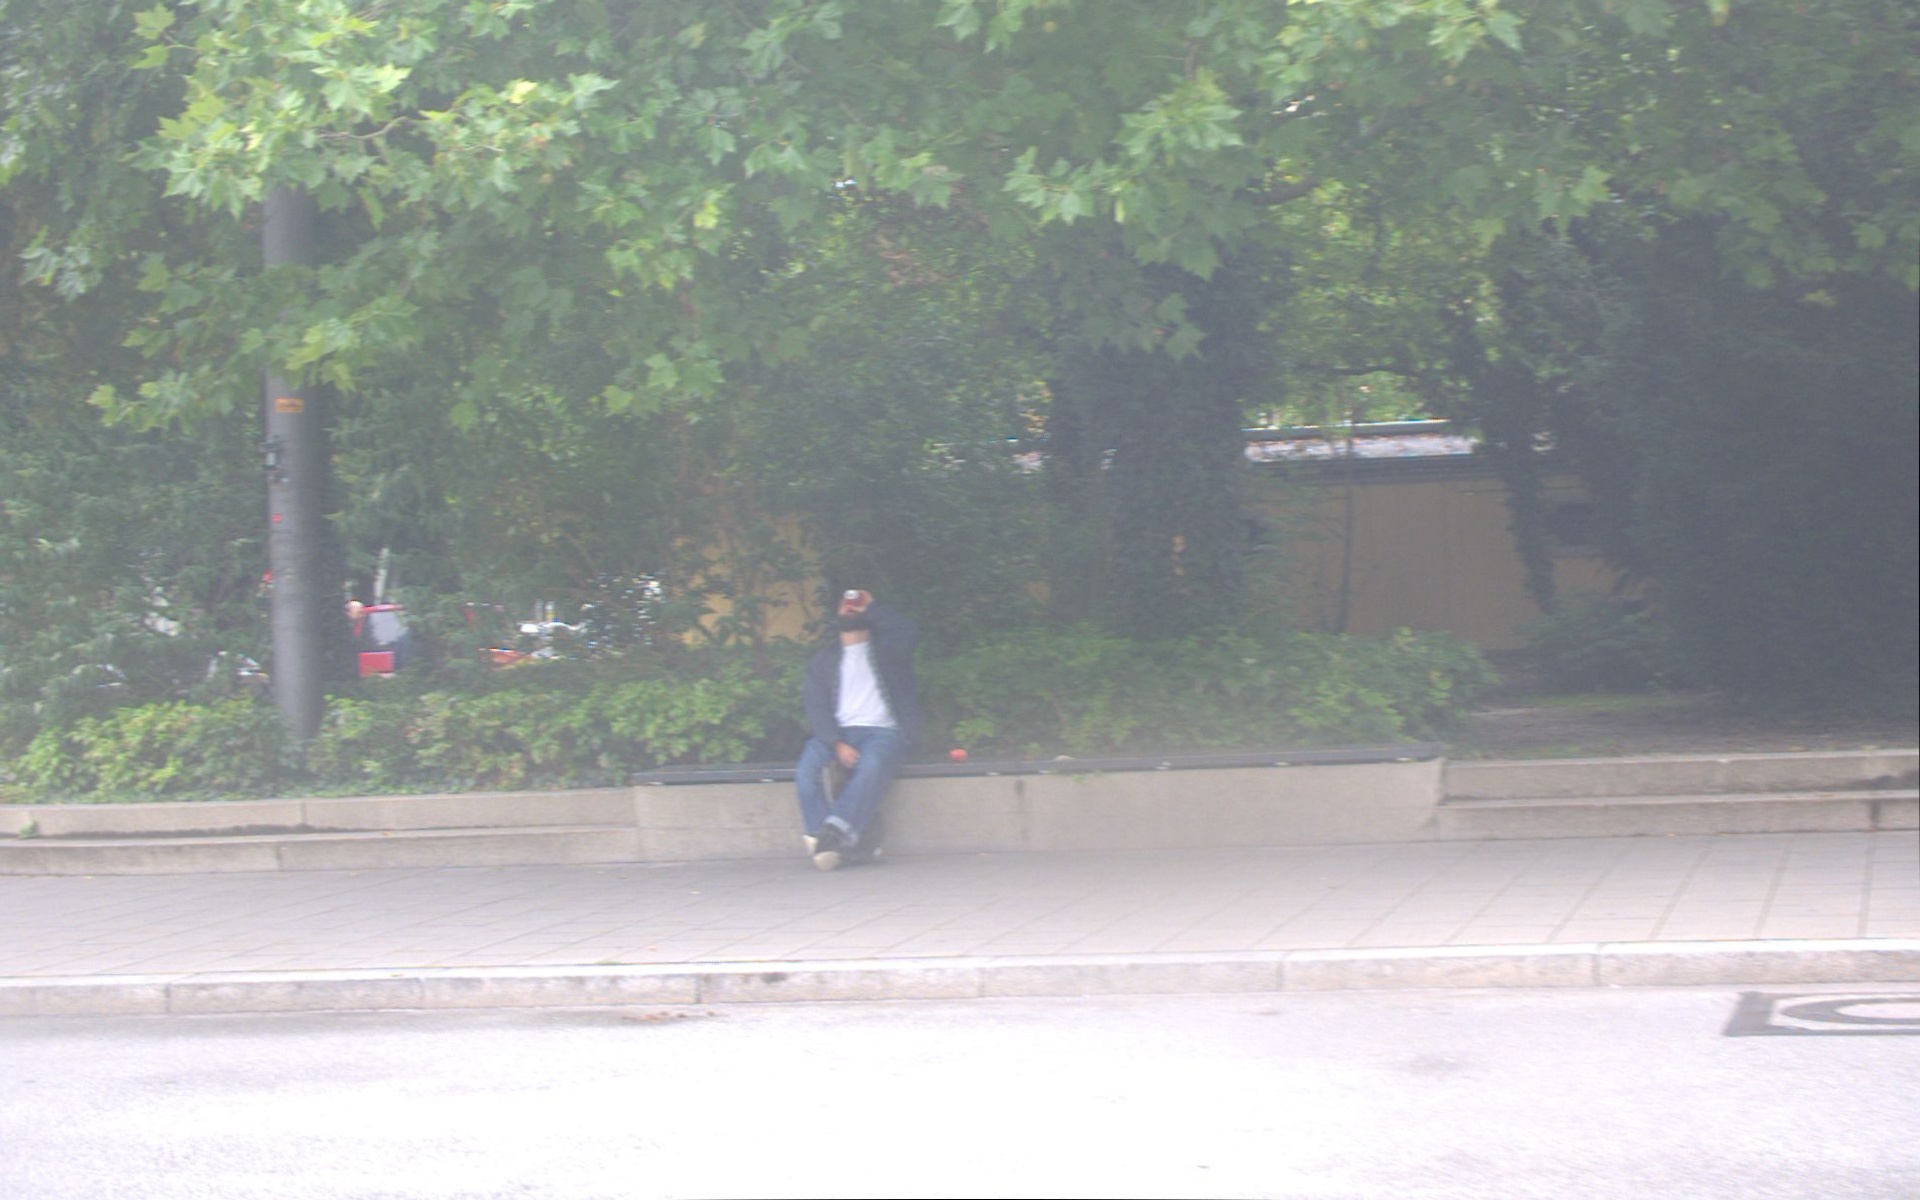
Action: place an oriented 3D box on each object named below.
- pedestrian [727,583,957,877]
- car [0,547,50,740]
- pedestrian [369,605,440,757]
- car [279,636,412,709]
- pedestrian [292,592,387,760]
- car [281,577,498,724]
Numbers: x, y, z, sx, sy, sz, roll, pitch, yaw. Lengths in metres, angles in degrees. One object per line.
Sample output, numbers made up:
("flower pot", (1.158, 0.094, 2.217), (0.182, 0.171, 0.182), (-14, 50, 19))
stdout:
("pedestrian", (-0.559, 0.613, 16.707), (0.769, 1.352, 1.131), (-2, 0, 15))
("car", (-16.098, 0.719, 52.465), (2.173, 2.992, 6.232), (-2, 0, 5))
("pedestrian", (-6.217, 0.902, 38.436), (0.633, 1.661, 0.697), (-2, 0, -16))
("car", (-13.767, 1.600, 77.251), (1.994, 1.482, 4.129), (-2, 0, 3))
("pedestrian", (-7.012, 0.855, 38.814), (0.819, 1.830, 0.952), (-2, 0, -21))
("car", (-8.079, 0.686, 49.139), (1.911, 1.930, 4.968), (-2, 0, 4))
